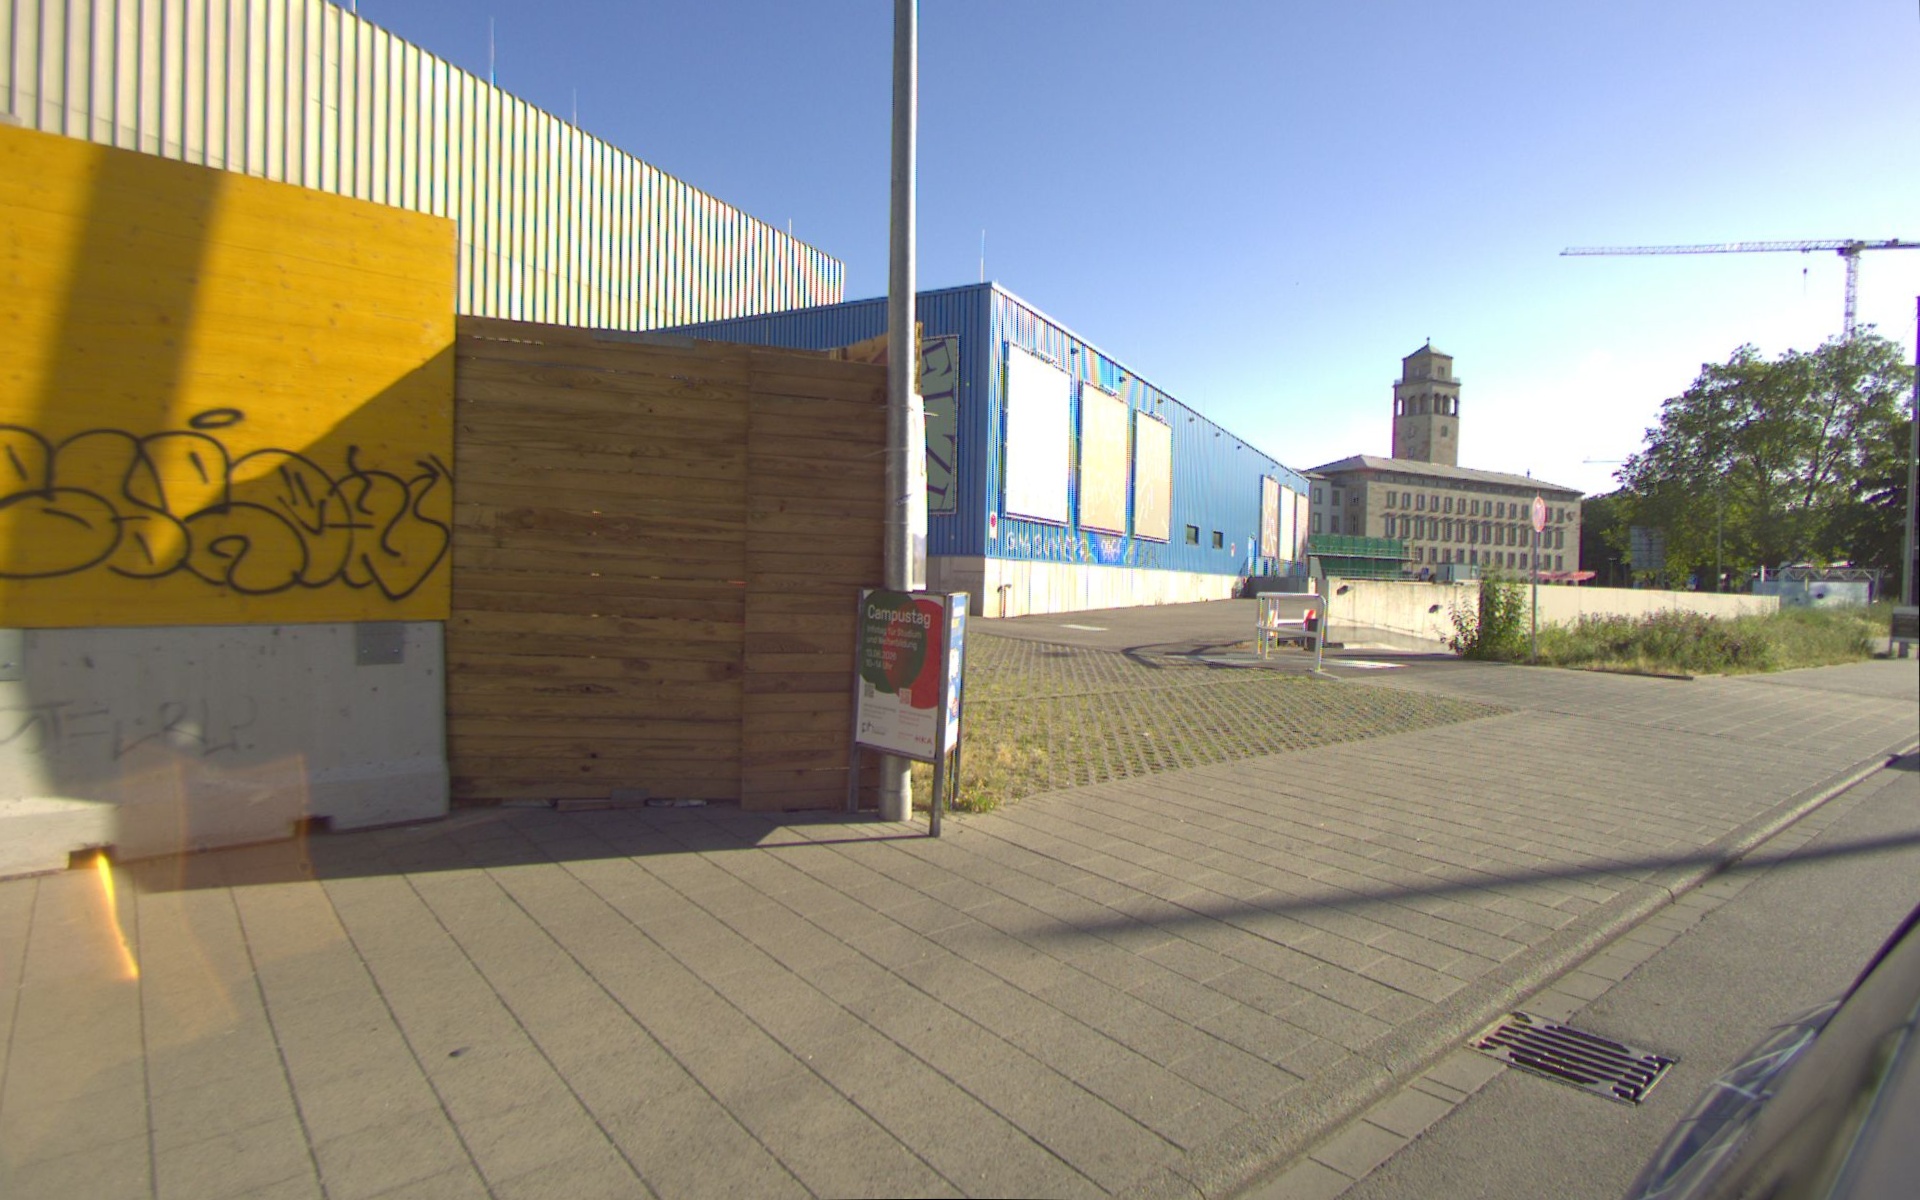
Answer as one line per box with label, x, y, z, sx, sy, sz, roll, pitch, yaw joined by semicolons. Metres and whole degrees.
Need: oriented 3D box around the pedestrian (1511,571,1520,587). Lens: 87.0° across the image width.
pedestrian;46.393;-1.747;84.512;0.570;1.312;0.435;-2;0;36
